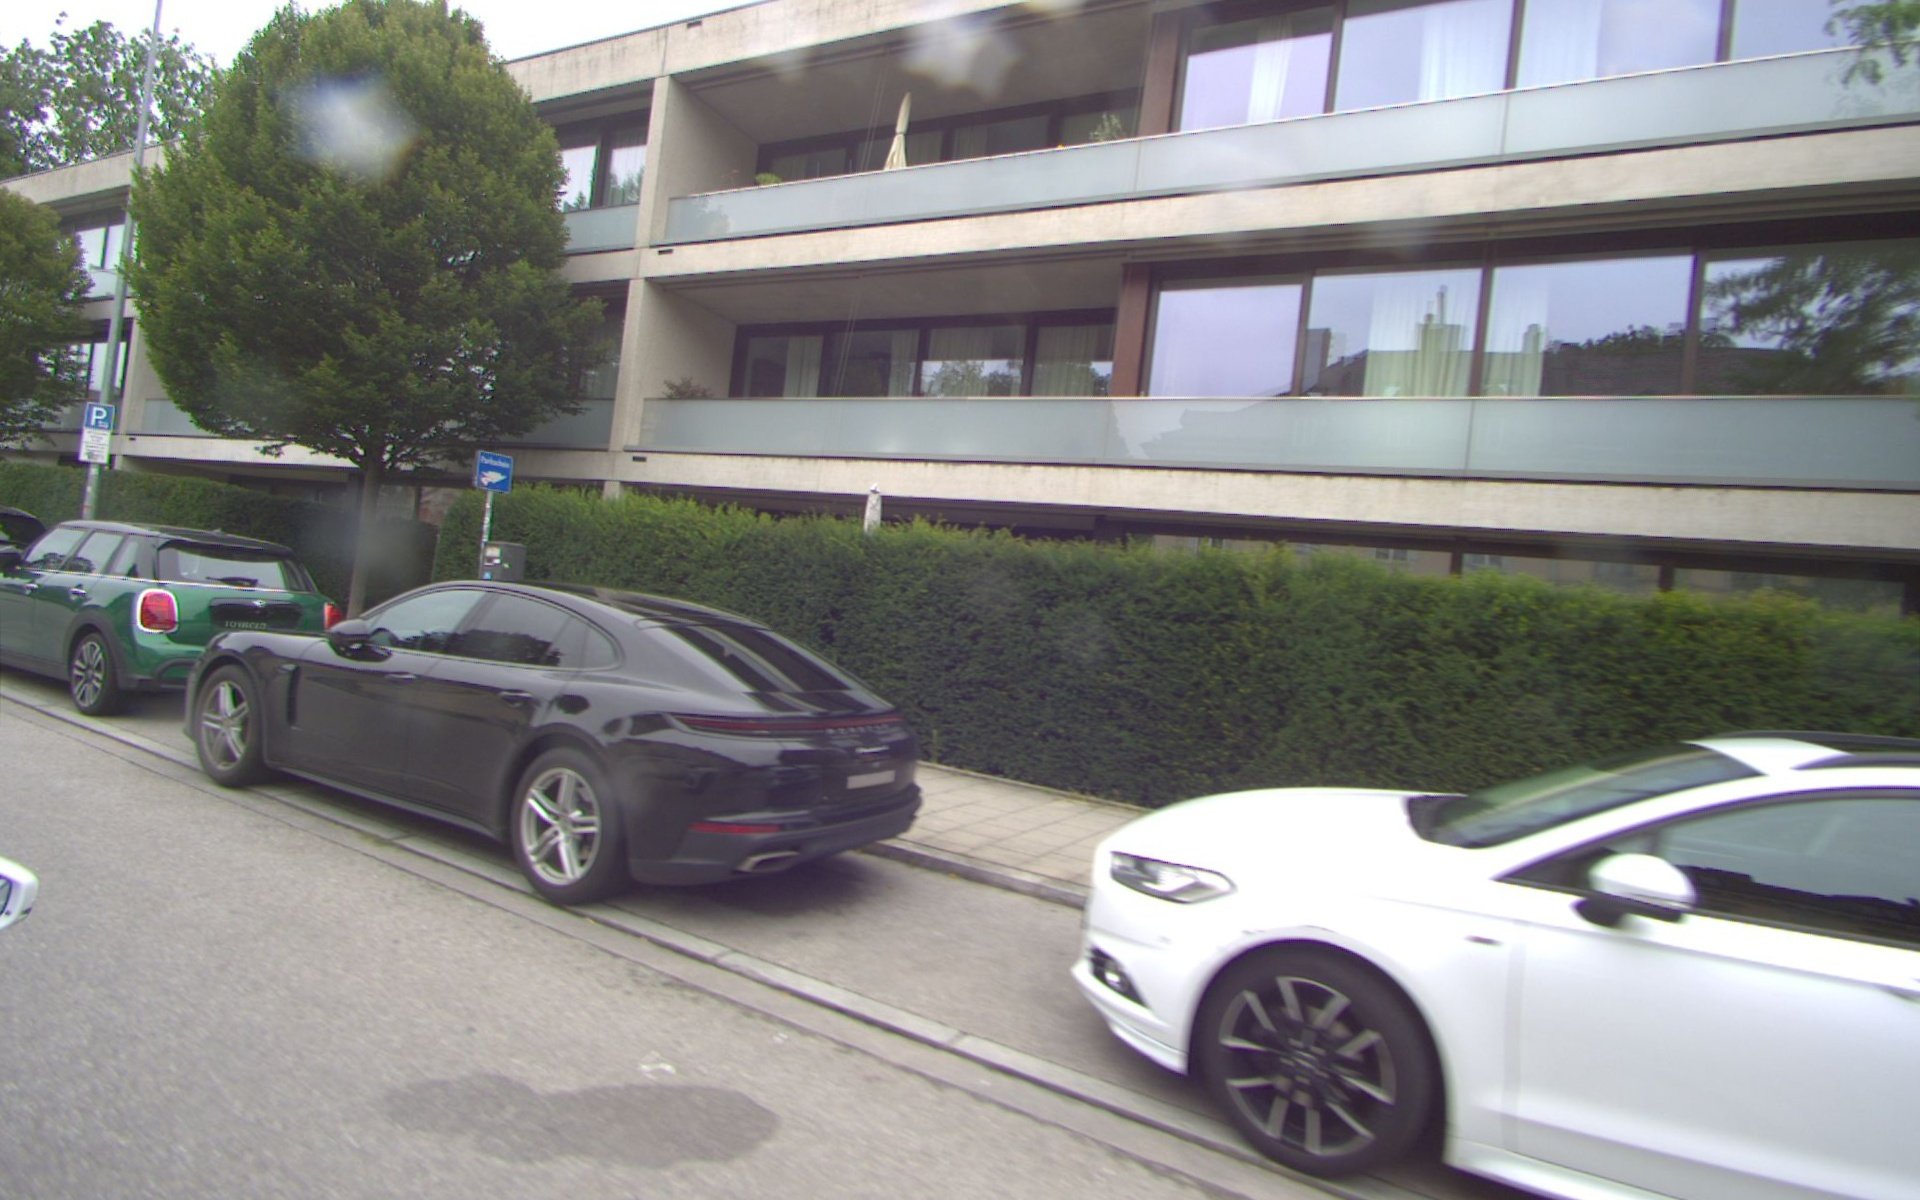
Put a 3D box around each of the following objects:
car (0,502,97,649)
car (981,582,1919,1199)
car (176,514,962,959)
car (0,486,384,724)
[{"bbox_3d":[-11.762,-0.481,11.256,4.169,1.481,1.751,7,-1,29],"label":"car"},{"bbox_3d":[2.753,1.056,3.128,4.912,1.590,1.874,7,1,26],"label":"car"},{"bbox_3d":[-2.602,0.503,6.000,5.117,1.525,1.283,7,1,29],"label":"car"},{"bbox_3d":[-7.162,-0.067,8.757,4.132,1.548,1.730,7,1,29],"label":"car"}]
